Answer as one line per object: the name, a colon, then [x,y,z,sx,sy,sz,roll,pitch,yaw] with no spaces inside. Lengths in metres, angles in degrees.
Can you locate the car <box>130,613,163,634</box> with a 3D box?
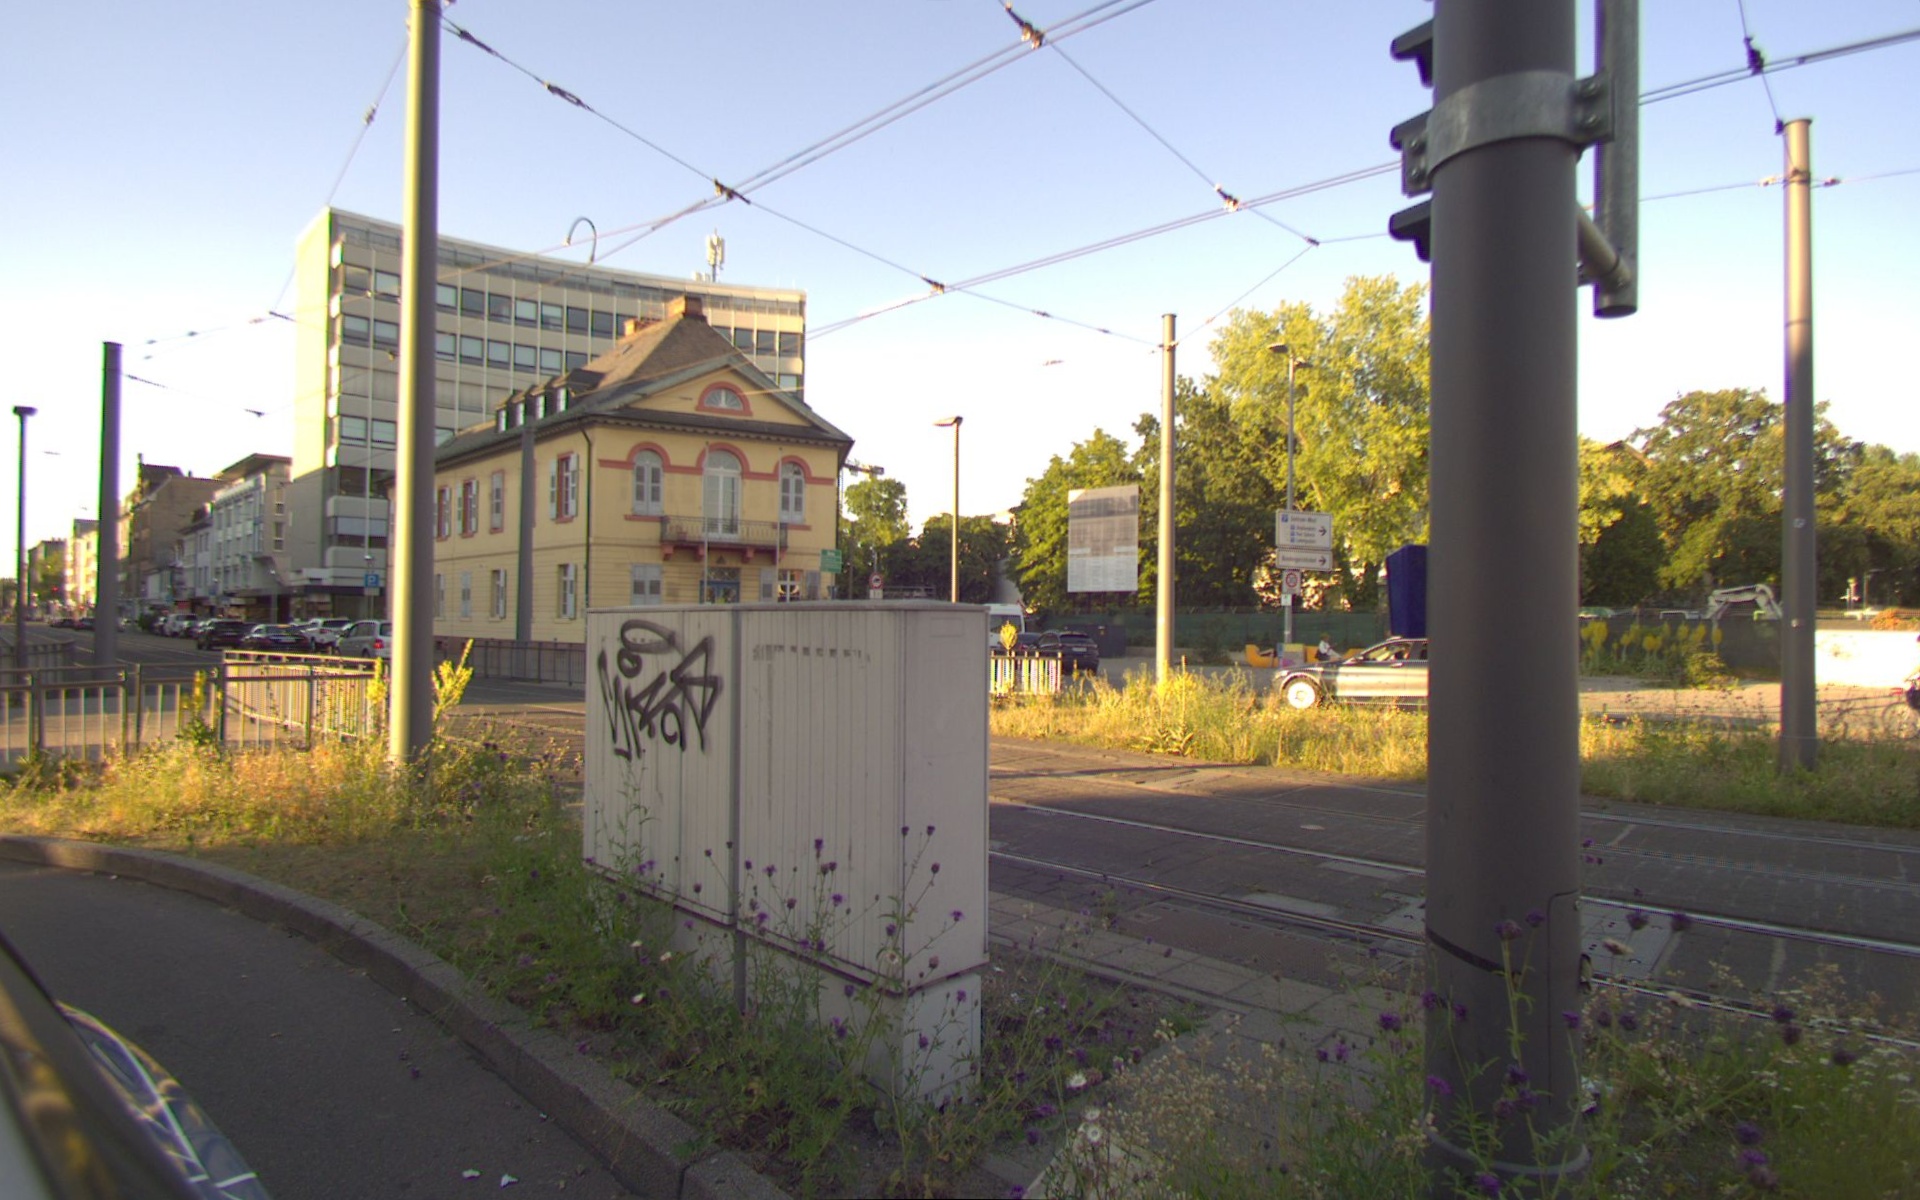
car: [-83.714,2.413,104.101,3.998,2.029,1.973,-1,0,41]

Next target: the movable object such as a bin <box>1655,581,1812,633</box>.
movable object such as a bin: [32.730,0.363,43.049,1.966,2.029,5.039,1,-2,-18]

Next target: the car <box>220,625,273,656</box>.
car: [-46.067,2.575,65.319,4.000,1.915,1.972,-1,-3,43]

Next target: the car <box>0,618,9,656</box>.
car: [-40.995,1.540,41.840,1.967,1.586,4.312,2,-2,-37]

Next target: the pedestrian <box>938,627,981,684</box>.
pedestrian: [-0.029,1.492,27.419,1.028,1.514,1.006,1,-2,-8]

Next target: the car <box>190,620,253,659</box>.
car: [-38.972,2.060,53.353,4.120,2.005,1.971,-1,-3,44]

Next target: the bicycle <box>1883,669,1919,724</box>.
bicycle: [16.888,1.646,17.085,1.784,0.899,0.675,0,-2,21]

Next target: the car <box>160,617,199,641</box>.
car: [-65.916,2.461,85.459,4.000,1.962,1.972,-1,-3,43]

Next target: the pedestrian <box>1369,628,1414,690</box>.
pedestrian: [12.361,1.682,29.010,0.865,1.737,0.830,2,-2,-6]

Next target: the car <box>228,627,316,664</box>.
car: [-28.240,1.831,41.473,4.656,1.439,1.990,-1,-3,43]

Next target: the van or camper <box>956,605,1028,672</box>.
van or camper: [1.364,1.743,46.043,2.050,2.796,6.462,1,-2,-9]

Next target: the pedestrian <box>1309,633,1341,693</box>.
pedestrian: [10.062,1.732,27.899,0.679,1.626,0.597,2,-2,-40]

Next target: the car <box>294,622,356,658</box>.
car: [-31.646,1.969,50.387,3.807,1.721,1.712,-1,-2,44]

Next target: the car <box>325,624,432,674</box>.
car: [-19.669,1.619,34.191,4.068,1.610,1.816,-1,-2,39]

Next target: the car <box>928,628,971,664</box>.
car: [-0.603,2.502,55.791,1.690,1.863,4.030,2,-2,-10]

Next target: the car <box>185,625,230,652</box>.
car: [-56.439,2.869,75.850,4.000,1.962,1.972,-2,-3,43]

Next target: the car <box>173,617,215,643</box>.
car: [-60.895,2.370,80.413,4.000,1.962,1.972,-1,-3,43]

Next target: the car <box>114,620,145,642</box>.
car: [-89.499,3.340,108.997,4.000,2.394,1.972,-1,-3,43]

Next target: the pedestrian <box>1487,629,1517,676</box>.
pedestrian: [19.942,1.927,37.241,0.810,1.678,0.765,2,-3,-42]

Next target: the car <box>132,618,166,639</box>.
car: [-79.675,2.808,99.427,4.000,1.962,1.972,-1,-3,43]

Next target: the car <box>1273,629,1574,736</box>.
car: [7.944,1.318,17.535,4.409,1.528,1.974,-1,0,39]

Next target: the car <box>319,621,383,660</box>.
car: [-28.092,1.831,46.663,3.440,1.721,1.712,-1,-2,44]

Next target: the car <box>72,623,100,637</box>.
car: [-97.898,3.352,113.323,3.998,1.519,1.824,-1,-2,41]

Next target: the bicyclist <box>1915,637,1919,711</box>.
bicyclist: [16.819,1.269,17.124,0.724,1.267,0.663,0,-2,21]

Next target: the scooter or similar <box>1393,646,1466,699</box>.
scooter or similar: [11.752,1.816,25.357,1.629,1.302,0.461,1,-2,-3]

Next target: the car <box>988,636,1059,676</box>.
car: [2.447,2.164,40.063,1.706,1.440,4.483,2,-2,-11]

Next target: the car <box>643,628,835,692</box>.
car: [-5.442,1.432,24.941,4.309,1.421,1.901,0,-2,23]

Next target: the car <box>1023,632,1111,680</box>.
car: [3.665,1.916,35.483,1.754,1.555,4.301,1,-2,-12]
